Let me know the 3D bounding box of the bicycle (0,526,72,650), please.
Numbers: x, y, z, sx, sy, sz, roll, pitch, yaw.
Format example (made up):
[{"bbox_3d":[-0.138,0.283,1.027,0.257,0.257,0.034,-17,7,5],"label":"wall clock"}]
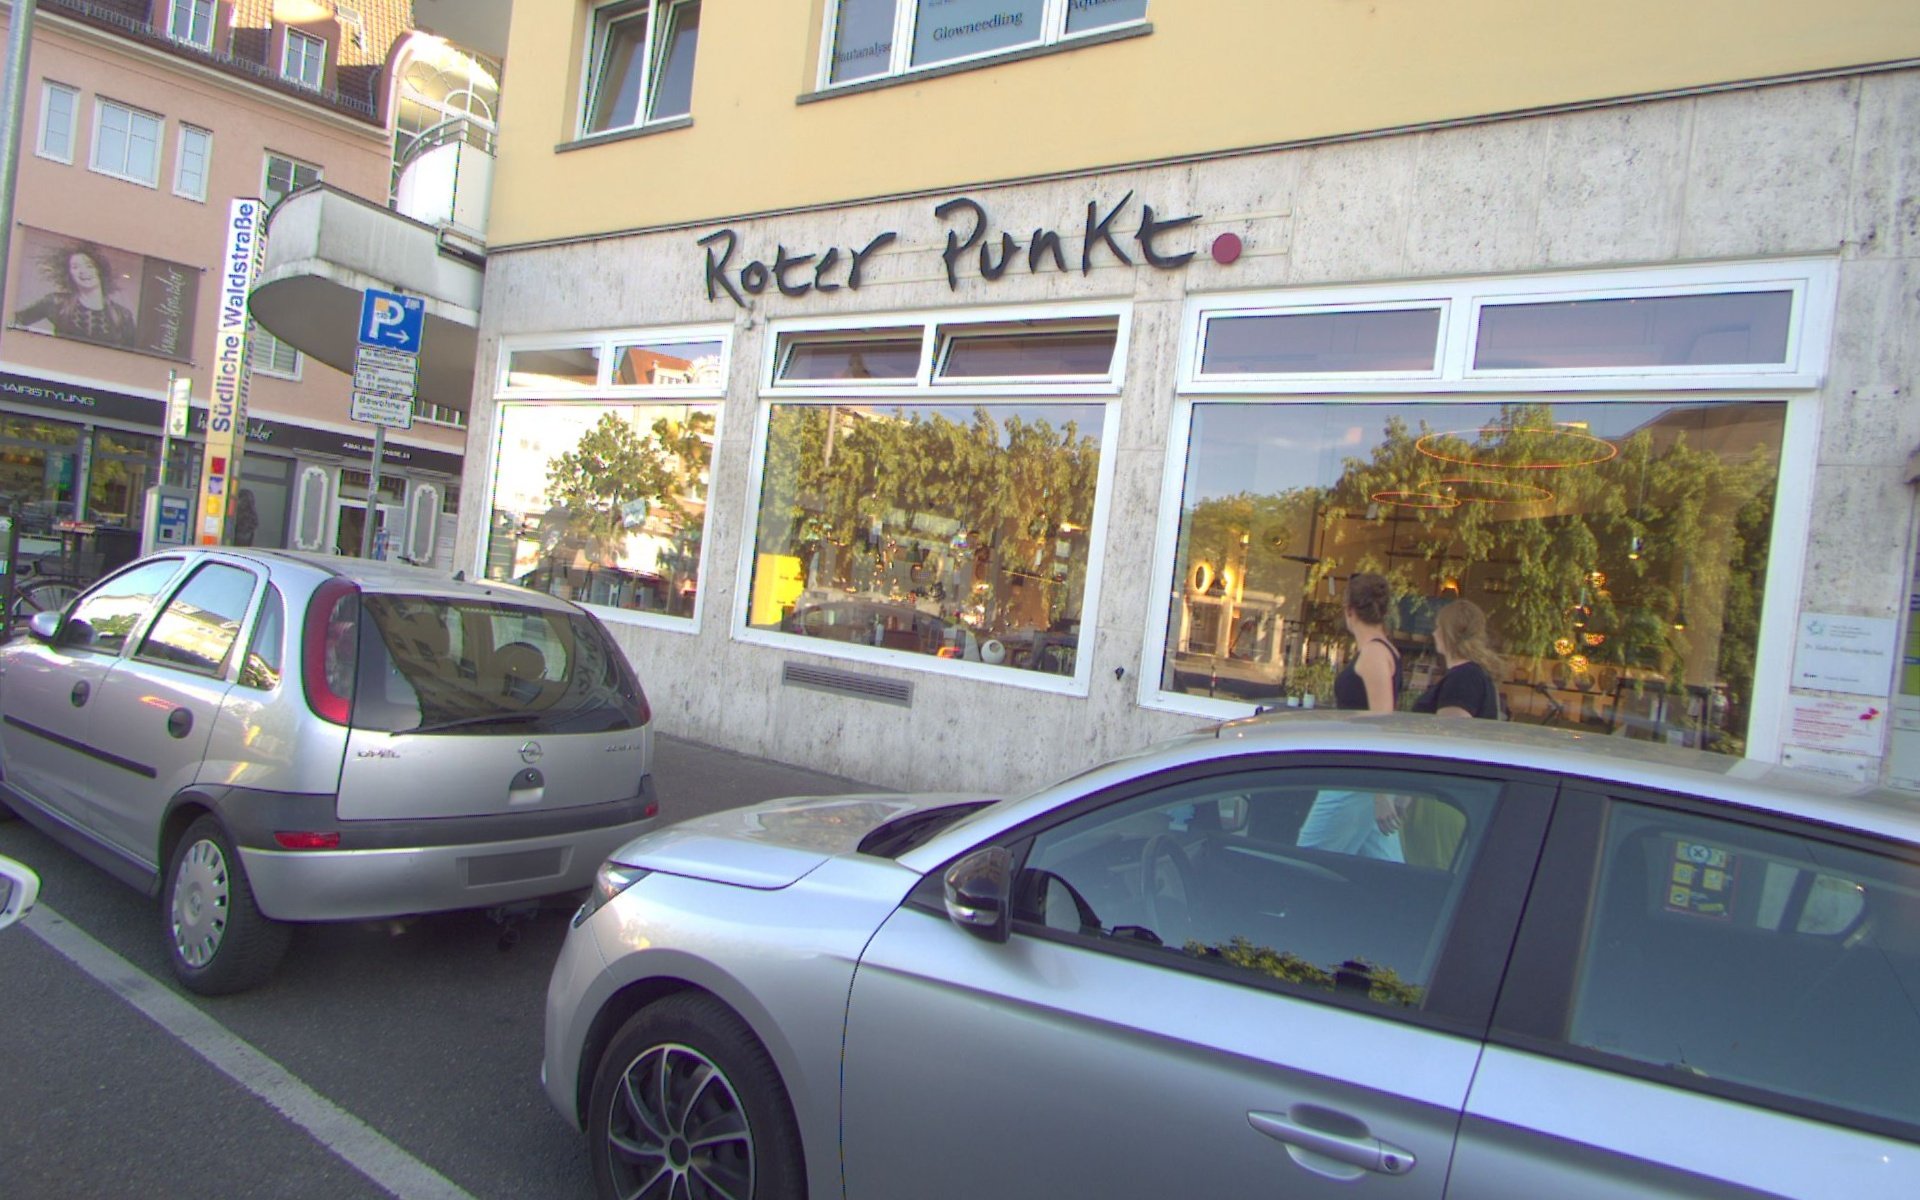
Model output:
[{"bbox_3d":[-9.090,-0.148,8.812,0.408,1.101,1.872,6,1,35],"label":"bicycle"}]

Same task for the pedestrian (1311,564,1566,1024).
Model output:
[{"bbox_3d":[2.073,0.797,4.454,0.557,1.805,0.743,7,0,0],"label":"pedestrian"}]

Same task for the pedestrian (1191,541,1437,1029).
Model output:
[{"bbox_3d":[1.421,0.670,3.991,0.636,1.685,0.658,7,0,29],"label":"pedestrian"}]

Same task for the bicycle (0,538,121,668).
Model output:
[{"bbox_3d":[-8.113,-0.001,8.206,0.348,1.051,1.871,6,1,38],"label":"bicycle"}]

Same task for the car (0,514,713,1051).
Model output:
[{"bbox_3d":[-2.940,0.495,4.435,3.420,1.407,1.548,6,-1,33],"label":"car"}]

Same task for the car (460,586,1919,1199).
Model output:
[{"bbox_3d":[0.759,0.922,2.272,3.598,1.444,1.550,6,-1,30],"label":"car"}]
